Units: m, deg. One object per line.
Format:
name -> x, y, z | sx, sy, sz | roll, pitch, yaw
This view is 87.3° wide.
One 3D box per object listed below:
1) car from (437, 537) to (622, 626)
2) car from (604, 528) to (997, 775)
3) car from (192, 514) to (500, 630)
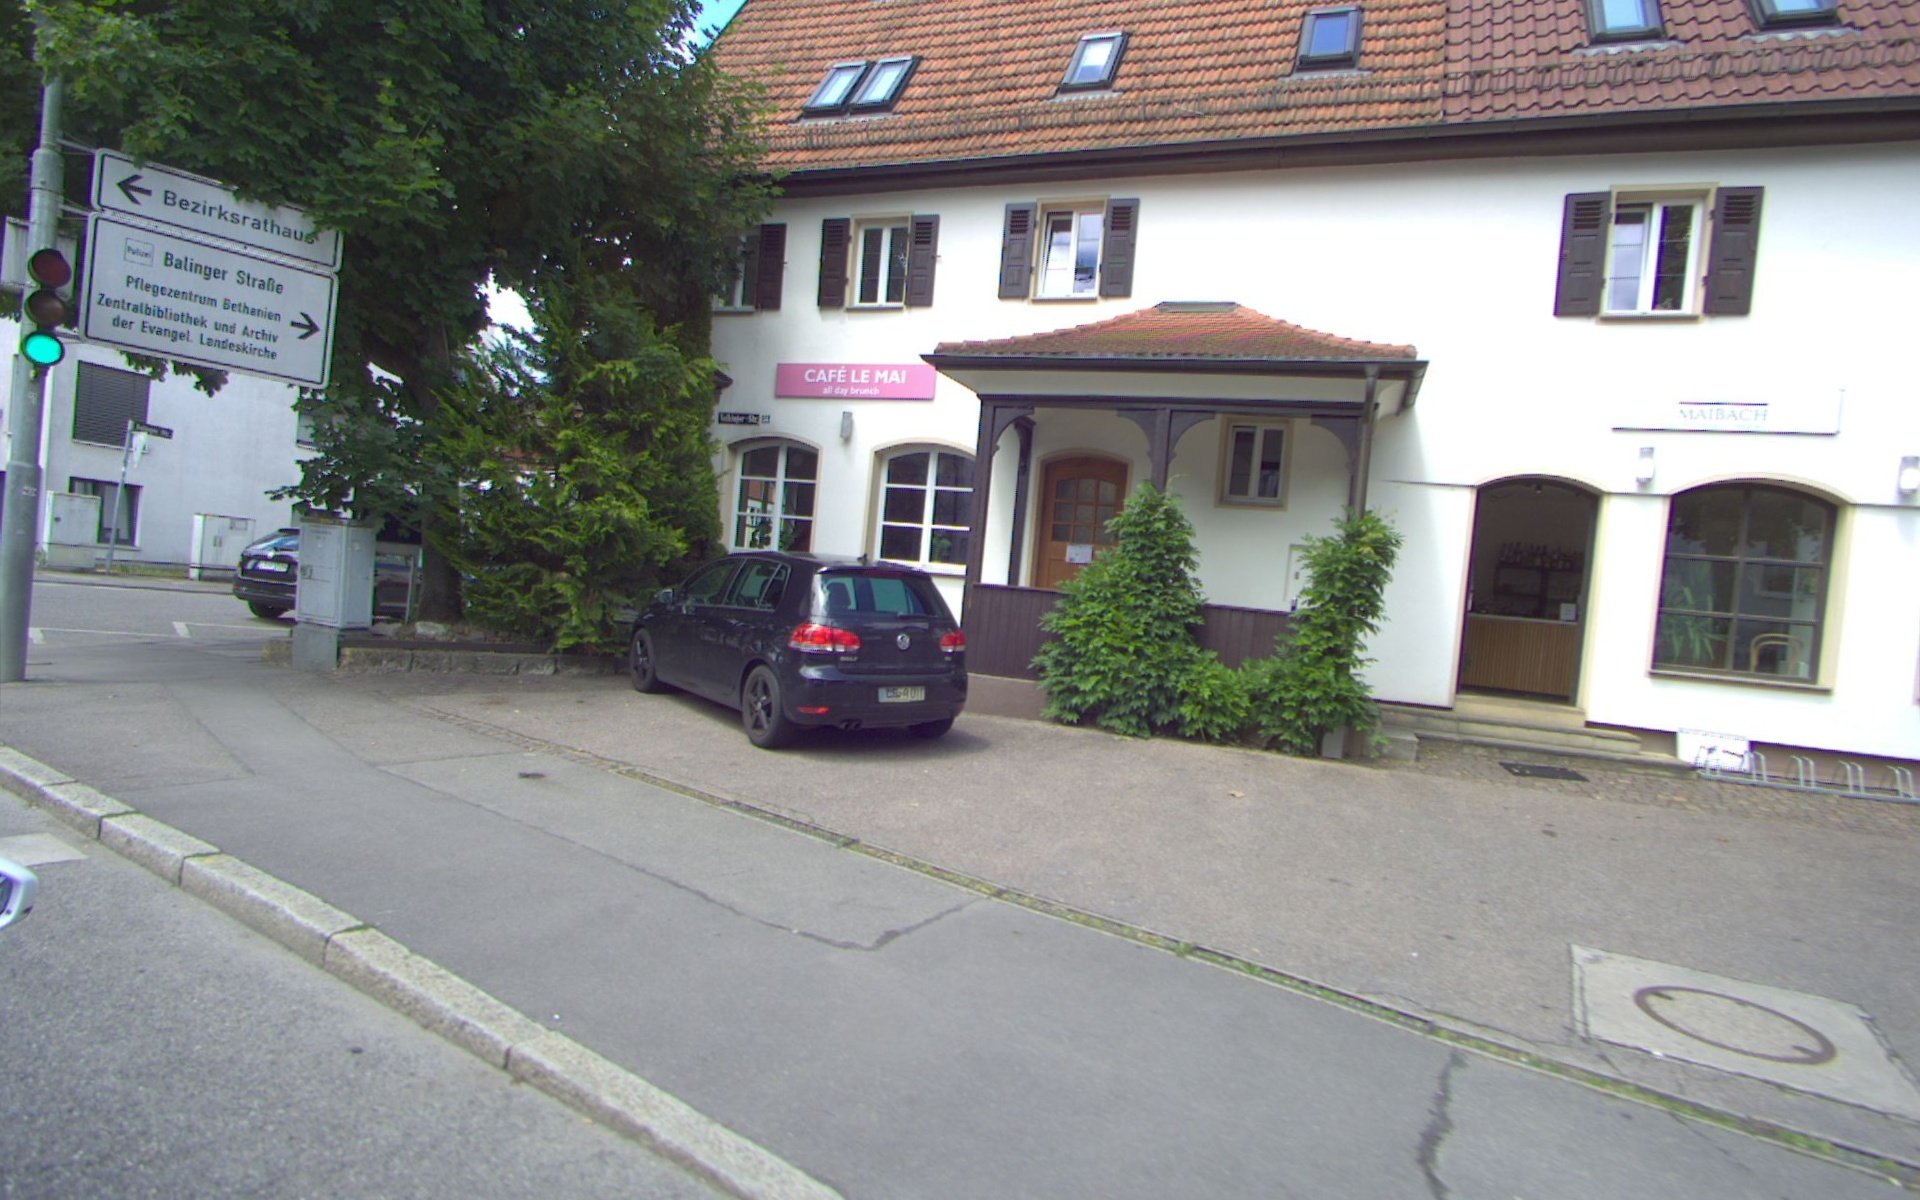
car -> -8.760, -0.326, 20.785 | 1.621, 1.504, 3.426 | 6, 0, 16
car -> -1.651, 0.265, 8.983 | 1.740, 1.539, 4.036 | 2, 5, -37
car -> -9.644, -0.392, 16.264 | 1.745, 1.434, 4.184 | 8, 1, 12
